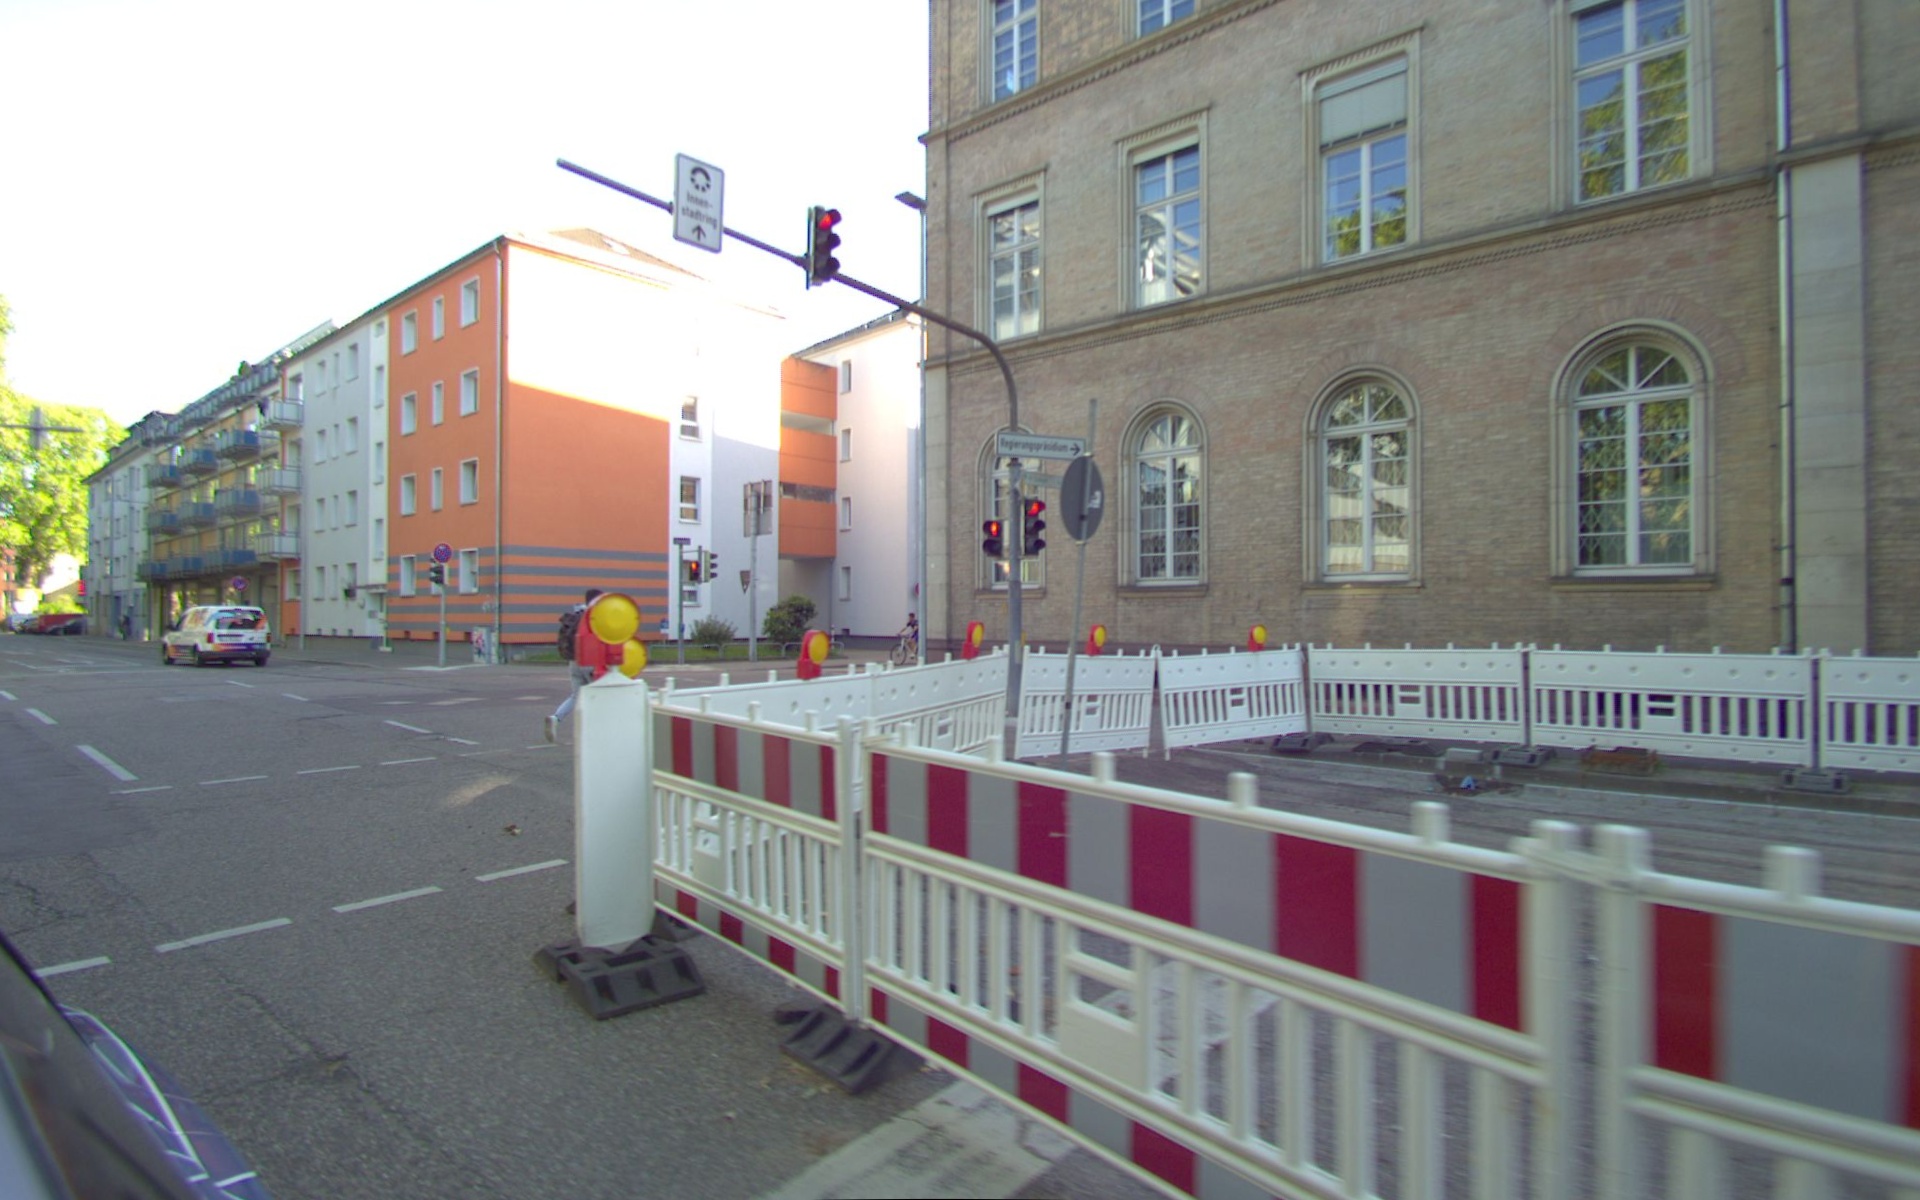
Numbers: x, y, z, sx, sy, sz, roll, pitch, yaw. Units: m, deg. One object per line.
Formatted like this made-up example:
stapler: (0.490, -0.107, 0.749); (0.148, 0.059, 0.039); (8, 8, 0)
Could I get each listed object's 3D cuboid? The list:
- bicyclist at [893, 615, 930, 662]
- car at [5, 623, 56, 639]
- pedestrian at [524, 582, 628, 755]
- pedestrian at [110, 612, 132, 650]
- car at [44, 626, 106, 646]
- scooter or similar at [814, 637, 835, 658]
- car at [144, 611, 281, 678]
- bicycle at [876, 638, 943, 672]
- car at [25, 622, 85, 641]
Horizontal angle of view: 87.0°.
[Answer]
bicyclist: (-1.493, 1.205, 31.261); (0.824, 1.383, 0.793); (3, -6, -35)
car: (-100.868, 3.351, 109.823); (1.834, 1.712, 3.943); (-2, -3, 43)
pedestrian: (-4.192, 0.723, 11.045); (0.870, 1.785, 0.749); (1, -2, -38)
pedestrian: (-54.062, 1.981, 65.235); (1.087, 2.414, 0.902); (-2, -3, 41)
car: (-78.145, 3.168, 89.401); (1.834, 1.712, 3.943); (-2, -3, 43)
scooter or similar: (-5.193, 1.804, 38.775); (0.741, 0.794, 0.298); (-1, -1, 27)
car: (-22.855, 1.368, 30.862); (5.117, 1.830, 1.975); (-3, -1, 37)
bicycle: (-1.542, 1.693, 31.184); (1.959, 1.007, 0.792); (2, -5, -35)
car: (-82.657, 2.882, 92.492); (1.834, 1.712, 3.943); (-2, -3, 43)
